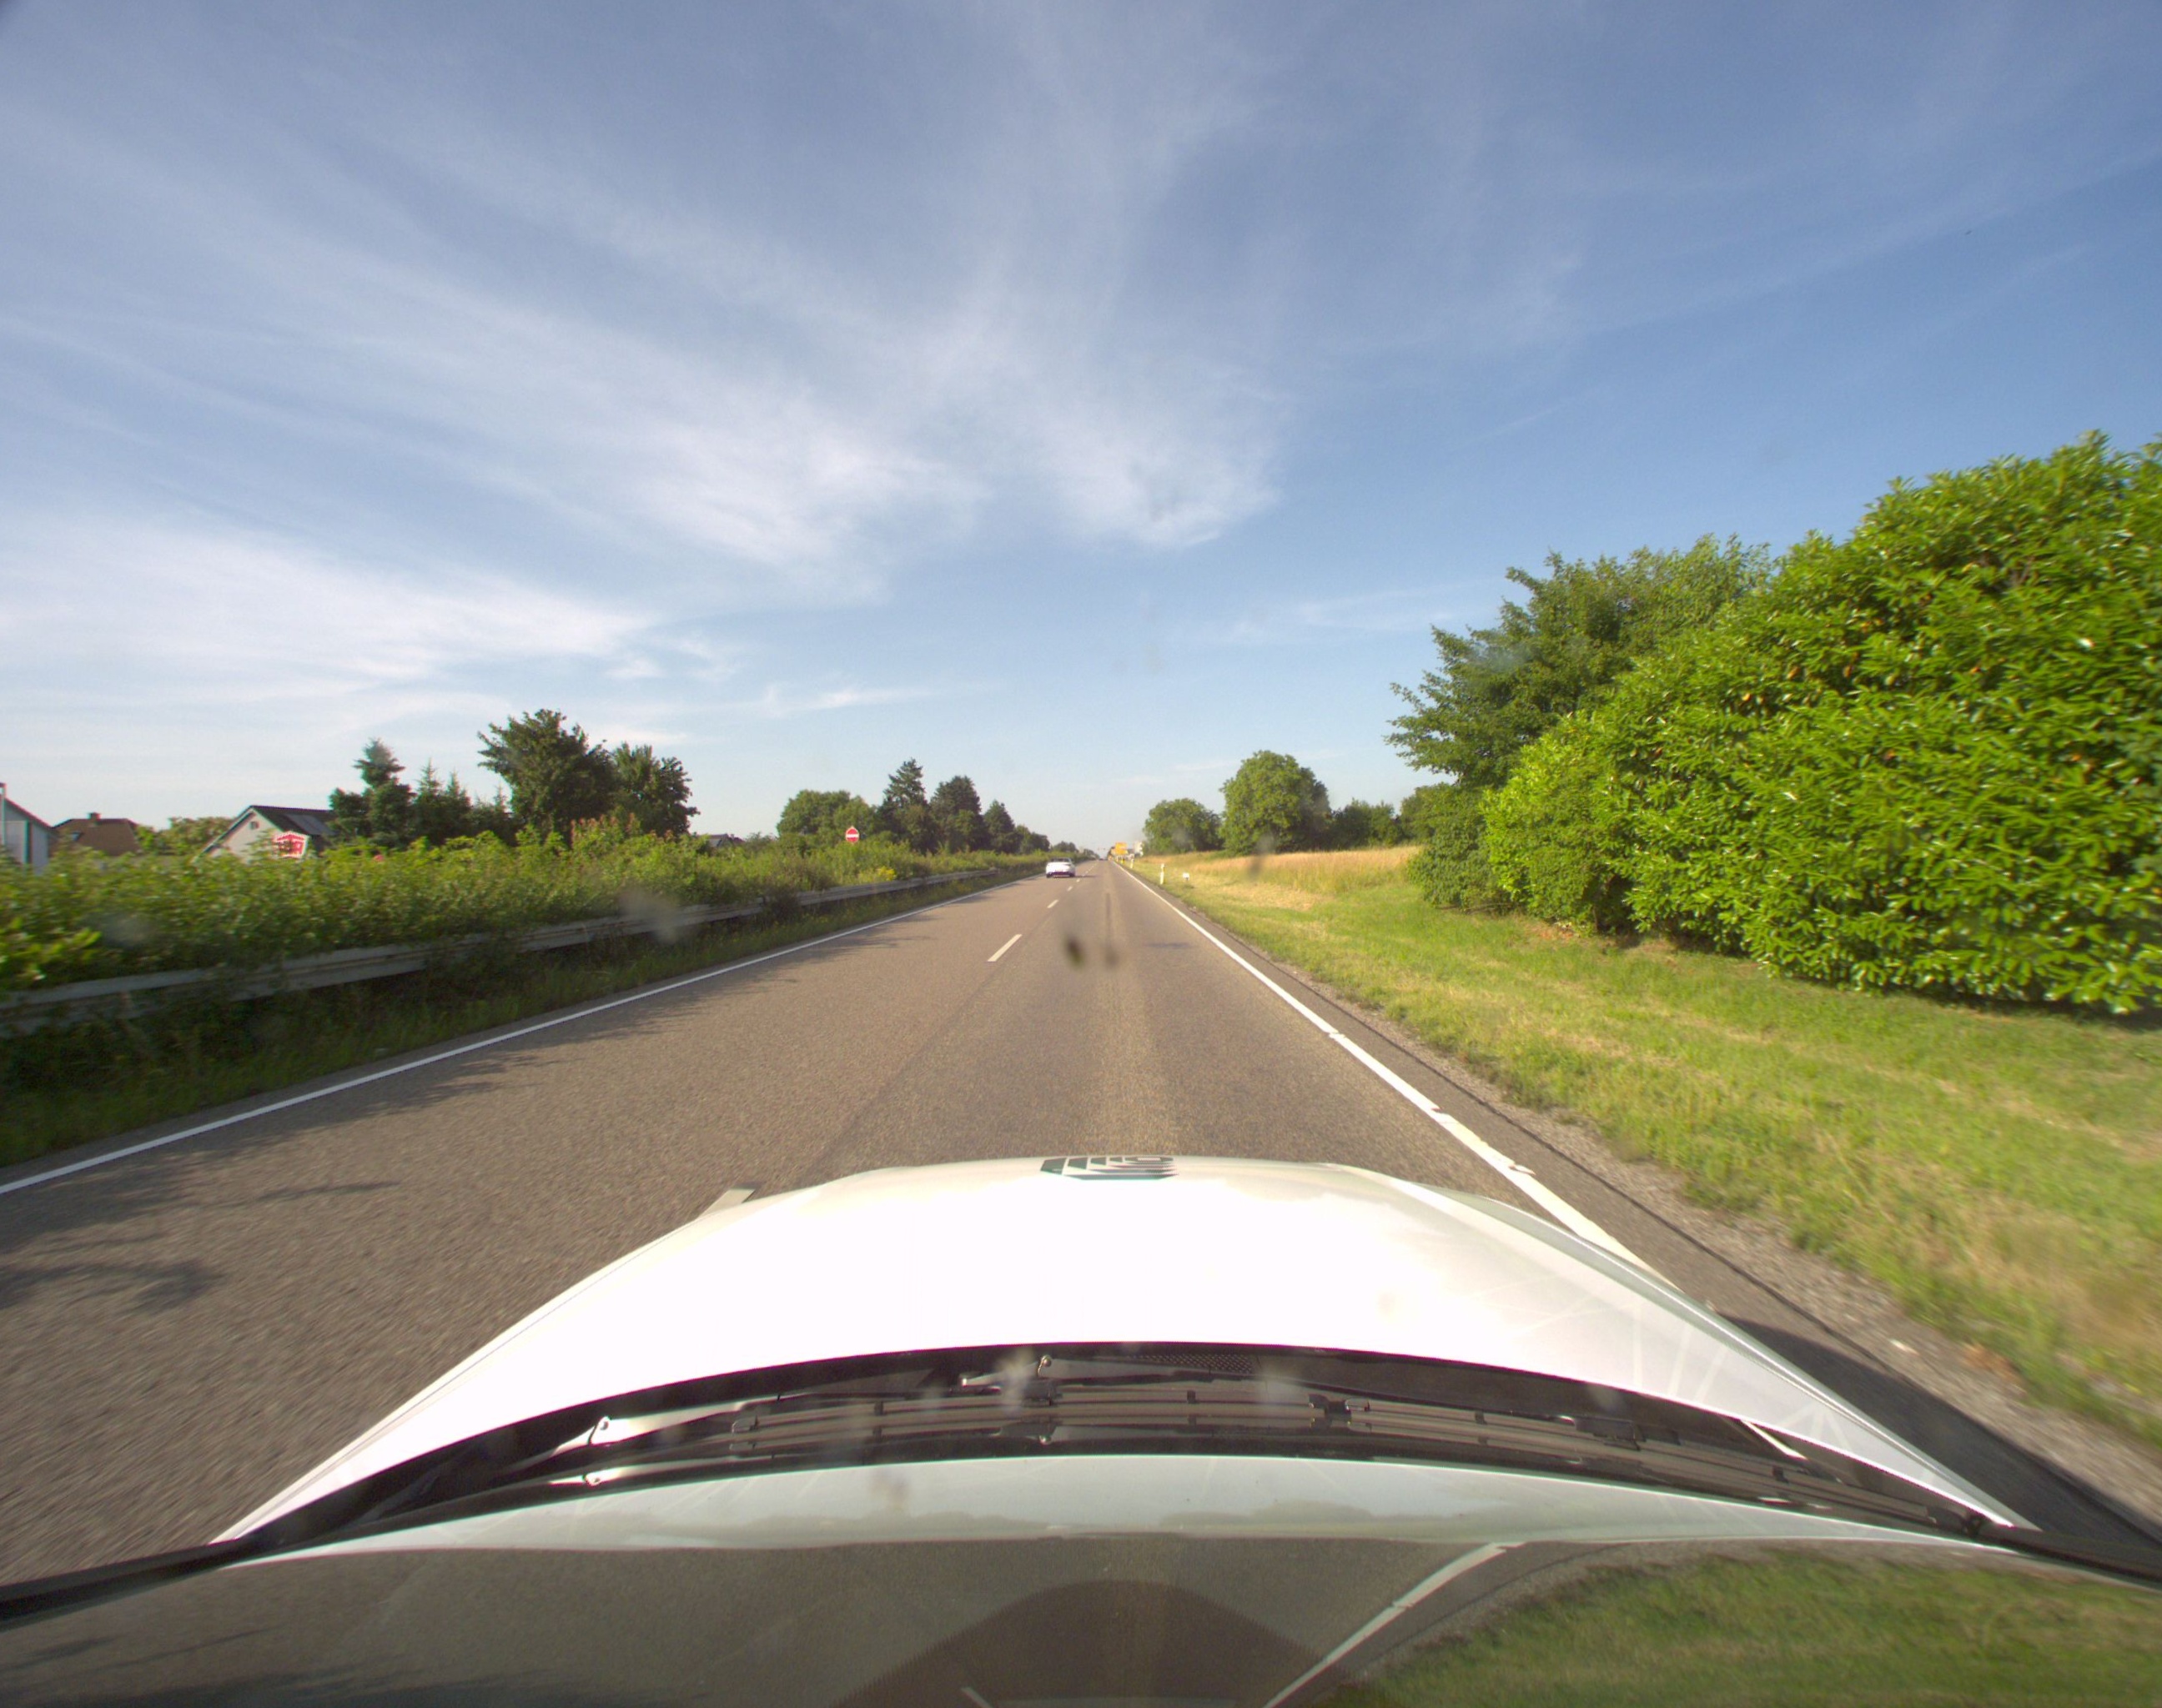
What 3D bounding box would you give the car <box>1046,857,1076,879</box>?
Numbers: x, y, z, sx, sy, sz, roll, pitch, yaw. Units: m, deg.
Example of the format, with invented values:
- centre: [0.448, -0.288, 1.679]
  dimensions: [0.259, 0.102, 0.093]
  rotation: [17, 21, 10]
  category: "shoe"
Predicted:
- centre: [-1.386, 0.953, 56.980]
  dimensions: [1.903, 1.422, 4.000]
  rotation: [0, -1, 1]
  category: "car"
